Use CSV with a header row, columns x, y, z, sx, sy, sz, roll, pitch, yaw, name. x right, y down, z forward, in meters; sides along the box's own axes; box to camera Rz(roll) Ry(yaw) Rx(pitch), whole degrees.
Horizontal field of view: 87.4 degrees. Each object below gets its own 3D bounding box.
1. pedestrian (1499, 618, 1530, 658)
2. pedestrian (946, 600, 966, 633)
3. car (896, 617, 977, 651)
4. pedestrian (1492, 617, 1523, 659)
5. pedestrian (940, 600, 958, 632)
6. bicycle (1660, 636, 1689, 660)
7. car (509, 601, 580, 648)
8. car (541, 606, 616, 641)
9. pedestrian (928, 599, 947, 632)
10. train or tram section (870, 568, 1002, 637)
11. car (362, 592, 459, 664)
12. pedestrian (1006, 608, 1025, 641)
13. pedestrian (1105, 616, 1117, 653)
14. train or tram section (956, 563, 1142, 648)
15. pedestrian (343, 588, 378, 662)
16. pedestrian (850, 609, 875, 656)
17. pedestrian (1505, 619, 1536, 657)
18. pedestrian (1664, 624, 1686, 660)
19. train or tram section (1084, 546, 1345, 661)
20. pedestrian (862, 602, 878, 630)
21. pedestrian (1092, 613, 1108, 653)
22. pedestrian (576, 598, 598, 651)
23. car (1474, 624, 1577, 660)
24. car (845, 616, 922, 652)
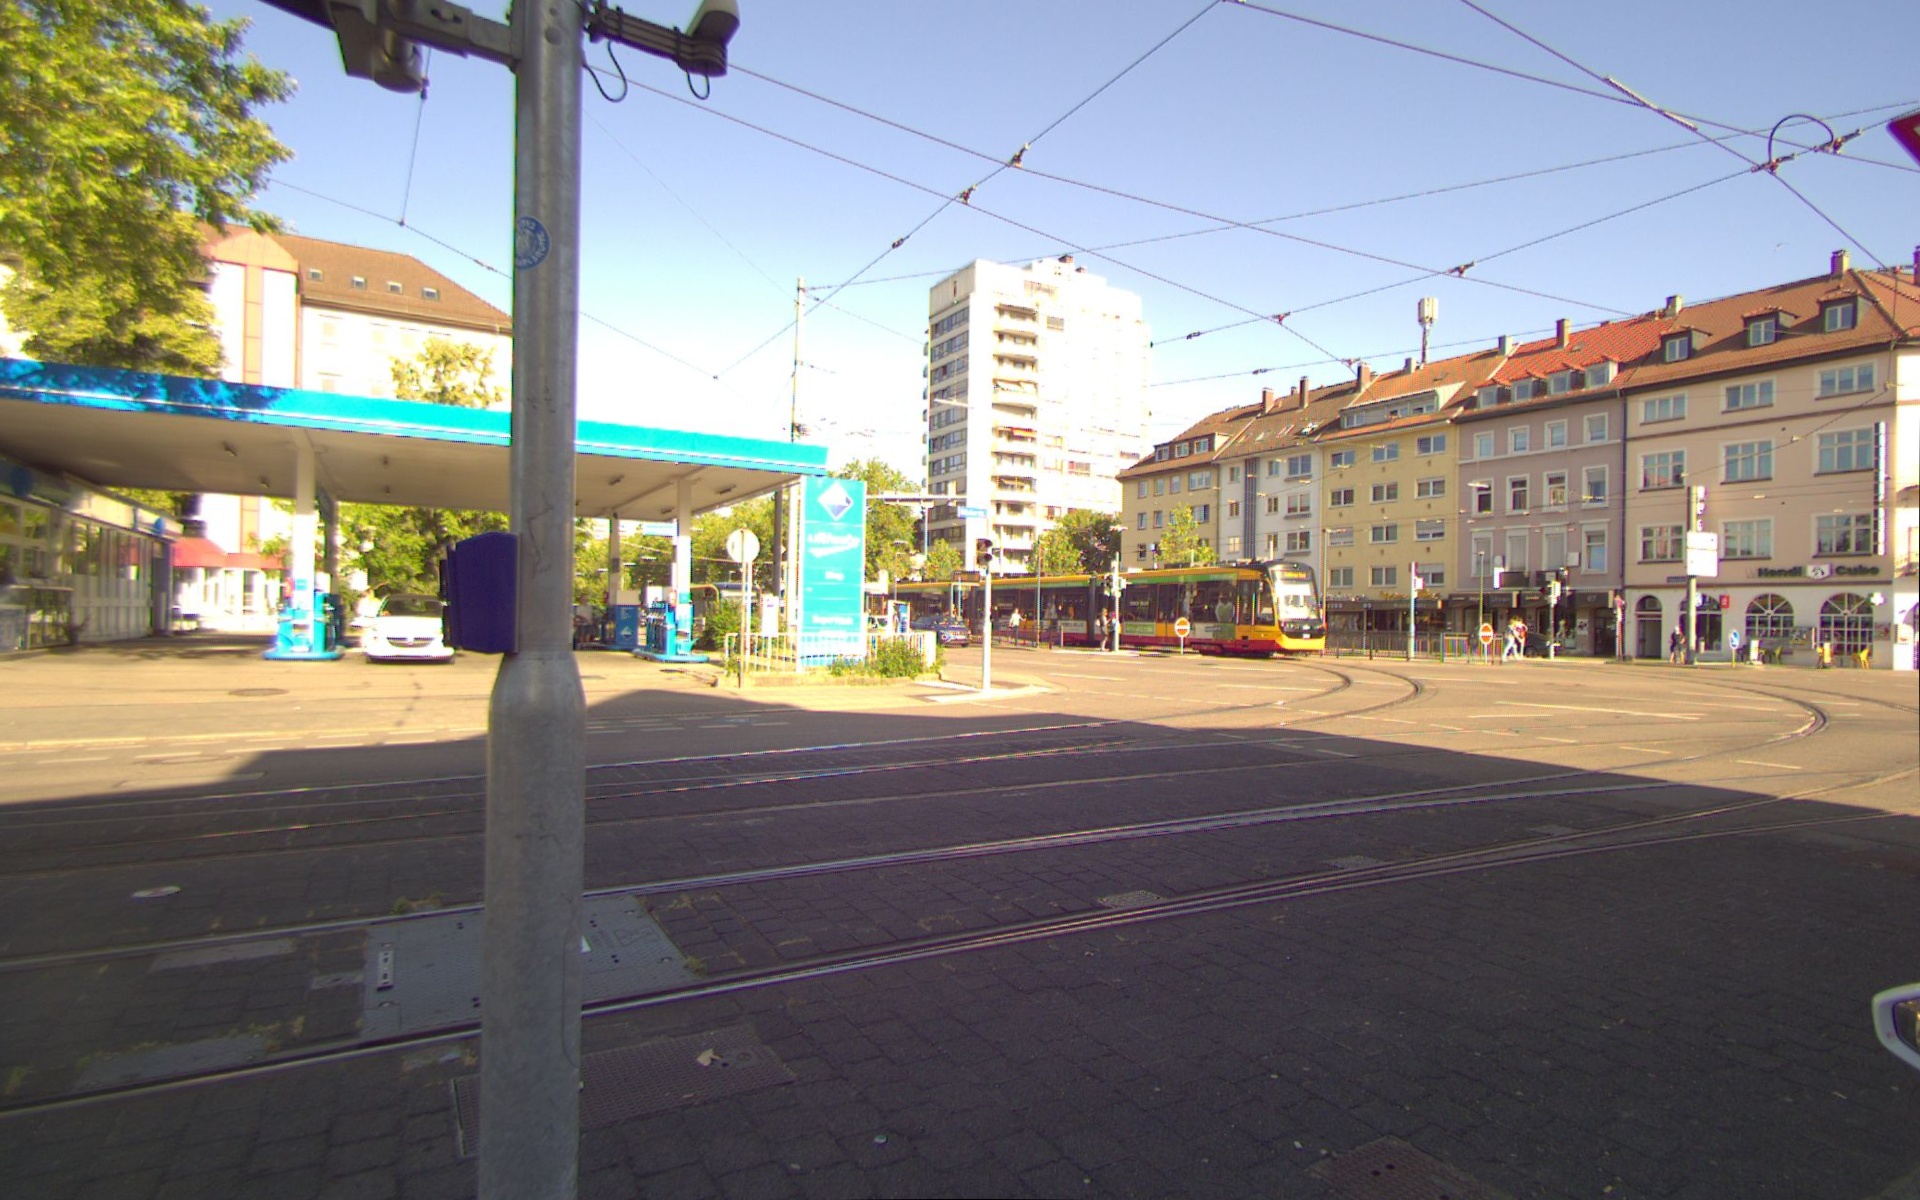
x,y,z,sx,sy,sz,roll,pitch,yaw,name
22.779,1.550,41.265,0.821,1.598,0.724,2,0,-20,pedestrian
-0.207,0.858,53.082,0.747,1.756,0.797,0,0,-28,pedestrian
-1.166,1.616,48.371,1.875,1.550,3.955,1,-2,-39,car
21.148,1.471,38.801,0.817,1.598,0.552,2,0,-2,pedestrian
-0.604,0.858,55.326,0.747,1.756,0.797,0,0,-28,pedestrian
34.167,2.309,48.034,1.479,1.091,0.570,2,0,-30,bicycle
-13.553,0.782,32.680,1.737,1.461,3.543,1,-1,-29,car
-16.866,1.040,44.605,1.722,1.461,3.572,1,-1,5,car
-1.239,0.837,55.101,0.747,1.756,0.797,0,0,-28,pedestrian
-1.802,0.225,62.470,2.906,3.864,12.027,1,-1,-29,train or tram section
-12.202,0.602,22.354,1.737,1.461,3.543,1,-1,-29,car
2.669,1.174,48.263,0.607,1.598,0.827,0,0,-27,pedestrian
6.148,1.405,40.970,0.472,1.525,0.462,0,0,6,pedestrian
4.131,0.314,51.643,2.906,3.864,12.721,1,-1,-29,train or tram section
-14.166,0.584,23.755,0.640,1.724,0.497,1,-1,-26,pedestrian
-3.570,1.200,36.763,0.752,1.702,0.555,1,-1,-33,pedestrian
24.506,1.671,43.936,0.821,1.598,0.847,2,0,-20,pedestrian
34.214,2.011,48.057,0.743,1.692,0.579,2,0,-30,pedestrian
9.494,0.216,40.274,2.900,3.864,12.981,1,-1,-23,train or tram section
-5.661,1.008,63.165,0.747,1.756,0.797,0,0,-28,pedestrian
5.851,1.391,41.970,0.626,1.666,0.462,0,0,6,pedestrian
-12.250,0.796,32.974,0.493,1.724,0.497,0,-1,43,pedestrian
30.819,2.291,54.850,2.277,1.734,4.350,2,0,-27,car
-3.593,1.552,46.741,1.871,1.550,3.963,1,-1,-33,car
